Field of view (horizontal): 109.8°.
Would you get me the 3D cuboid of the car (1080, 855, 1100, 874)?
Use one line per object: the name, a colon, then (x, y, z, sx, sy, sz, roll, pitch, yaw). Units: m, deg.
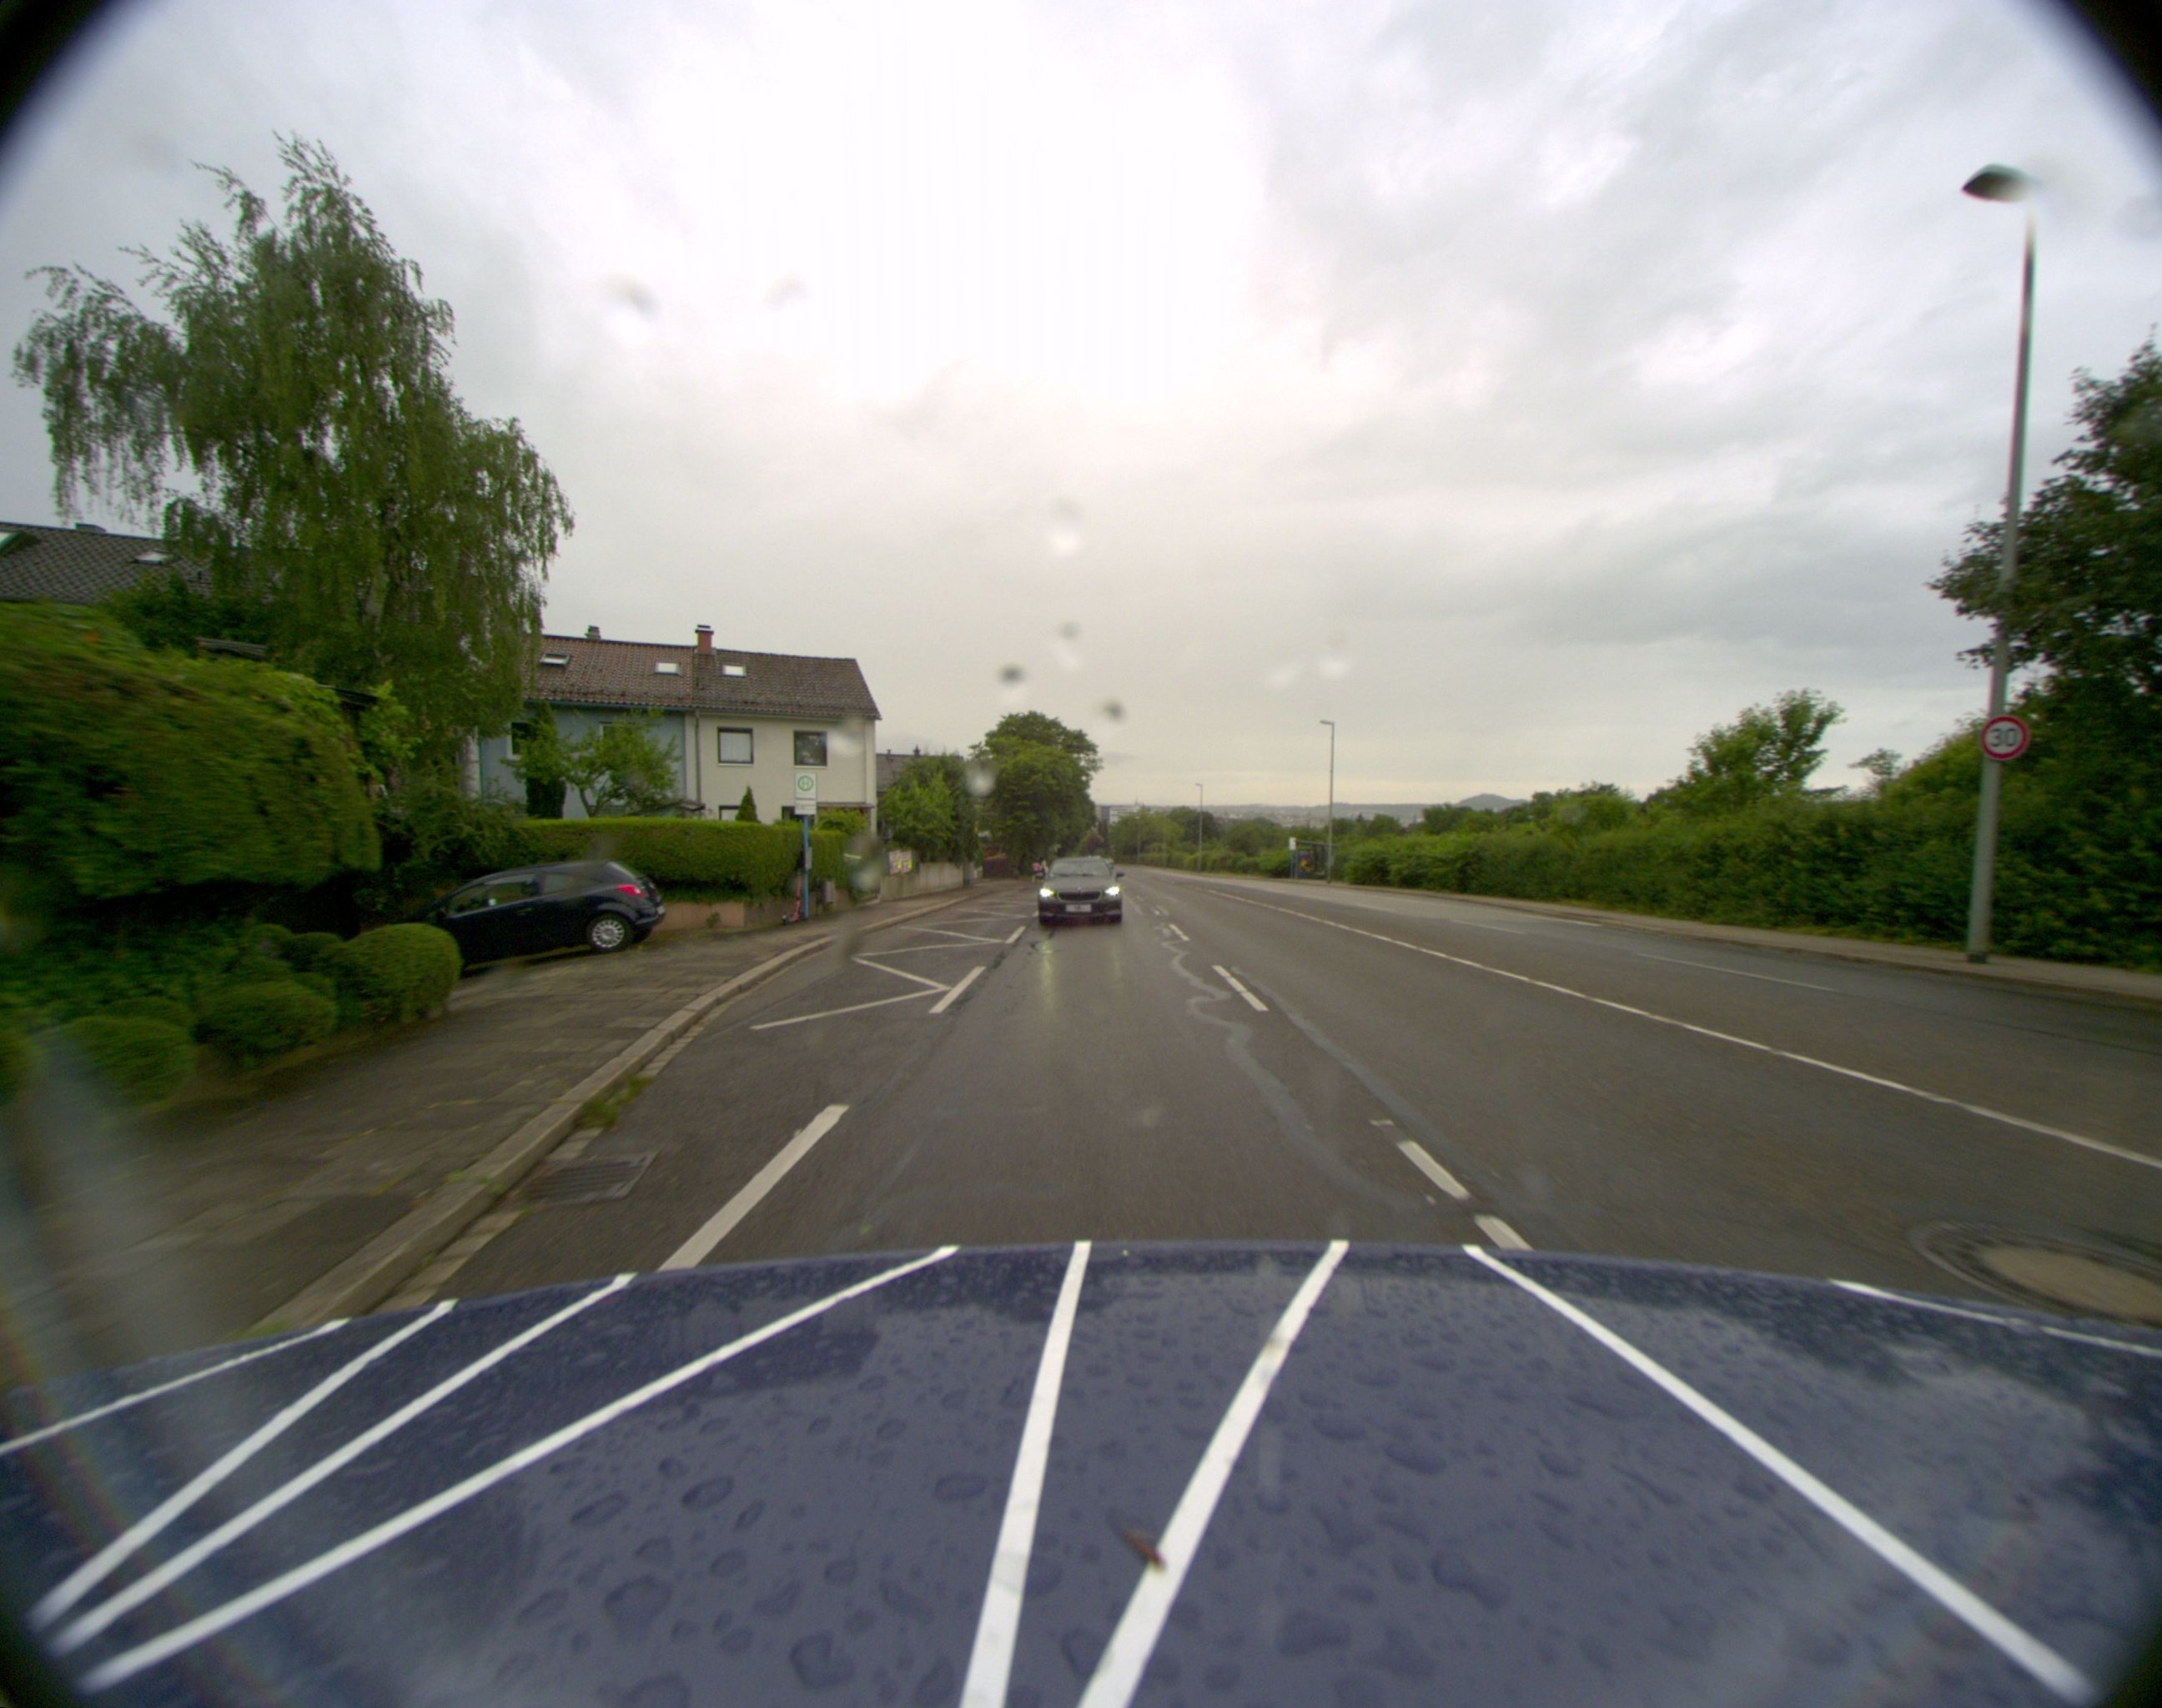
car: (0.826, 0.933, 70.264, 1.703, 1.670, 4.283, 0, 0, -1)

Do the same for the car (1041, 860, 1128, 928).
car: (-0.014, 0.874, 18.469, 1.846, 1.371, 4.281, -1, 1, -3)

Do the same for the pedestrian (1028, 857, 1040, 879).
pedestrian: (-2.997, 0.897, 48.566, 0.603, 1.347, 0.647, 0, 0, 9)

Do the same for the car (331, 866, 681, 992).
car: (-8.269, 1.007, 11.379, 3.710, 1.291, 1.769, -5, 2, -19)

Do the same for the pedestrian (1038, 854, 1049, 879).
pedestrian: (-2.385, 0.800, 48.467, 0.611, 1.584, 0.646, 0, 0, 9)

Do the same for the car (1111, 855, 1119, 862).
car: (8.423, 1.133, 190.000, 1.761, 1.559, 4.000, 2, 0, 0)

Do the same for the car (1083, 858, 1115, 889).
car: (0.911, 0.978, 39.996, 1.550, 1.505, 4.283, 1, 0, 0)
